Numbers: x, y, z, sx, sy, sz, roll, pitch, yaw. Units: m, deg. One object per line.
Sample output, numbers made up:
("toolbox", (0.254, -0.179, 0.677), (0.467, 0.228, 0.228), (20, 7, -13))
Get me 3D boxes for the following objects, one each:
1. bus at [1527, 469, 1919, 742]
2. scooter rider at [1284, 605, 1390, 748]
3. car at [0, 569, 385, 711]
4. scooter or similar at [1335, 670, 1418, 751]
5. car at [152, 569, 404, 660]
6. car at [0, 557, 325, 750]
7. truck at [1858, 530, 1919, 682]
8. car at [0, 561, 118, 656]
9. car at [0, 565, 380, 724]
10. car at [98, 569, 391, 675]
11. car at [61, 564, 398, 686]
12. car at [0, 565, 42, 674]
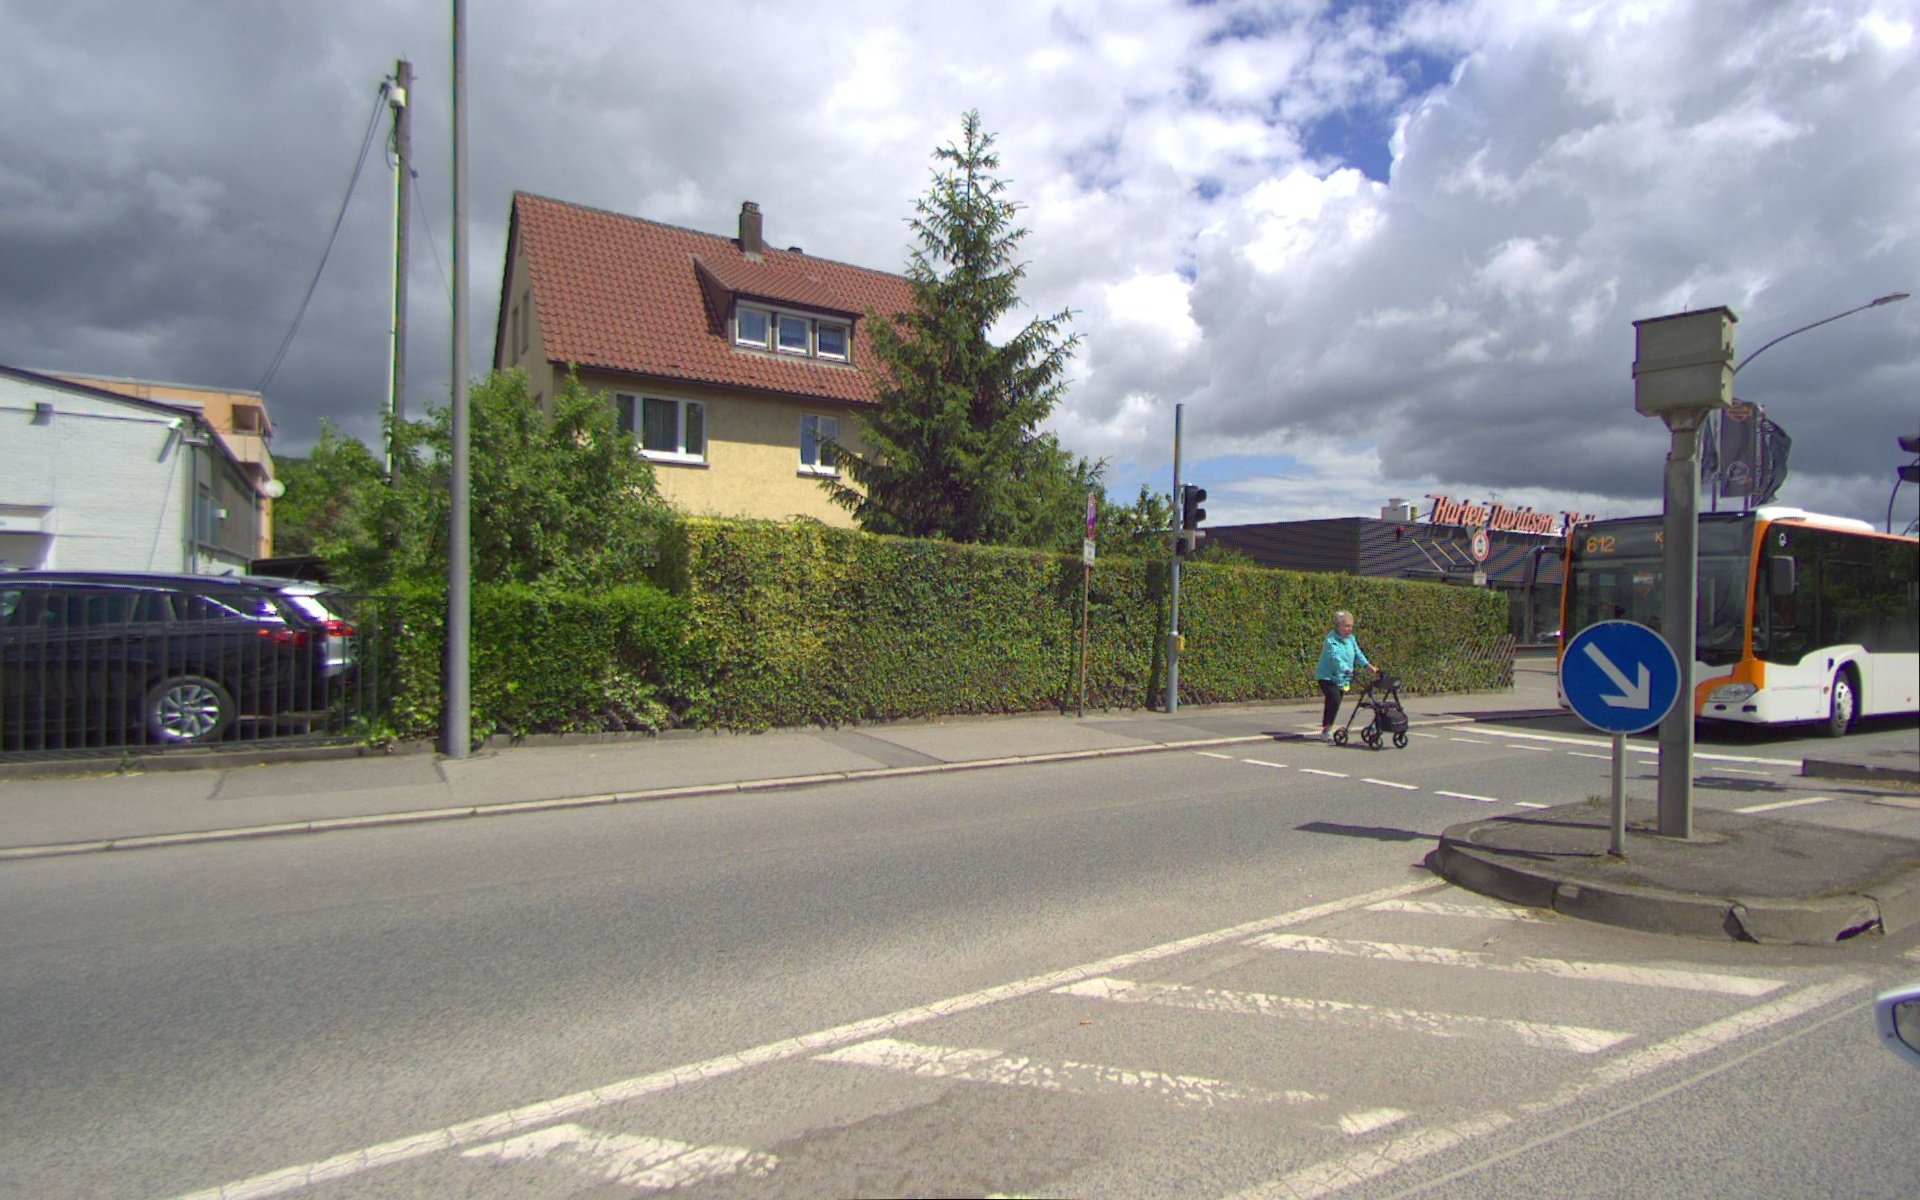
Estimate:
("bus", (14.057, 0.238, 16.421), (11.982, 3.309, 2.764), (2, -1, -31))
("scooter rider", (4.510, 0.881, 12.026), (0.787, 1.611, 0.873), (1, 0, -31))
("car", (-10.004, 0.497, 13.380), (3.959, 1.639, 1.765), (1, -1, -34))
("scooter or similar", (4.800, 1.258, 11.579), (0.652, 0.843, 0.608), (1, 1, -31))
("car", (-13.408, 0.299, 19.924), (3.963, 1.639, 1.763), (1, -1, -37))
("car", (-8.124, 0.422, 8.829), (4.224, 1.527, 2.140), (1, -1, -35))
("truck", (30.105, 0.284, 30.523), (9.068, 4.186, 2.410), (2, 2, -38))
("car", (-17.430, 0.132, 17.589), (3.963, 1.639, 1.763), (1, -1, -37))
("car", (-8.951, 0.446, 11.126), (4.224, 1.527, 2.140), (1, 0, -35))
("car", (-12.264, 0.387, 17.448), (3.963, 1.639, 1.763), (1, -1, -37))
("car", (-10.960, 0.377, 15.400), (3.959, 1.639, 1.765), (1, -1, -34))
("car", (-16.249, 0.253, 14.690), (3.963, 1.639, 1.763), (1, -1, -37))
